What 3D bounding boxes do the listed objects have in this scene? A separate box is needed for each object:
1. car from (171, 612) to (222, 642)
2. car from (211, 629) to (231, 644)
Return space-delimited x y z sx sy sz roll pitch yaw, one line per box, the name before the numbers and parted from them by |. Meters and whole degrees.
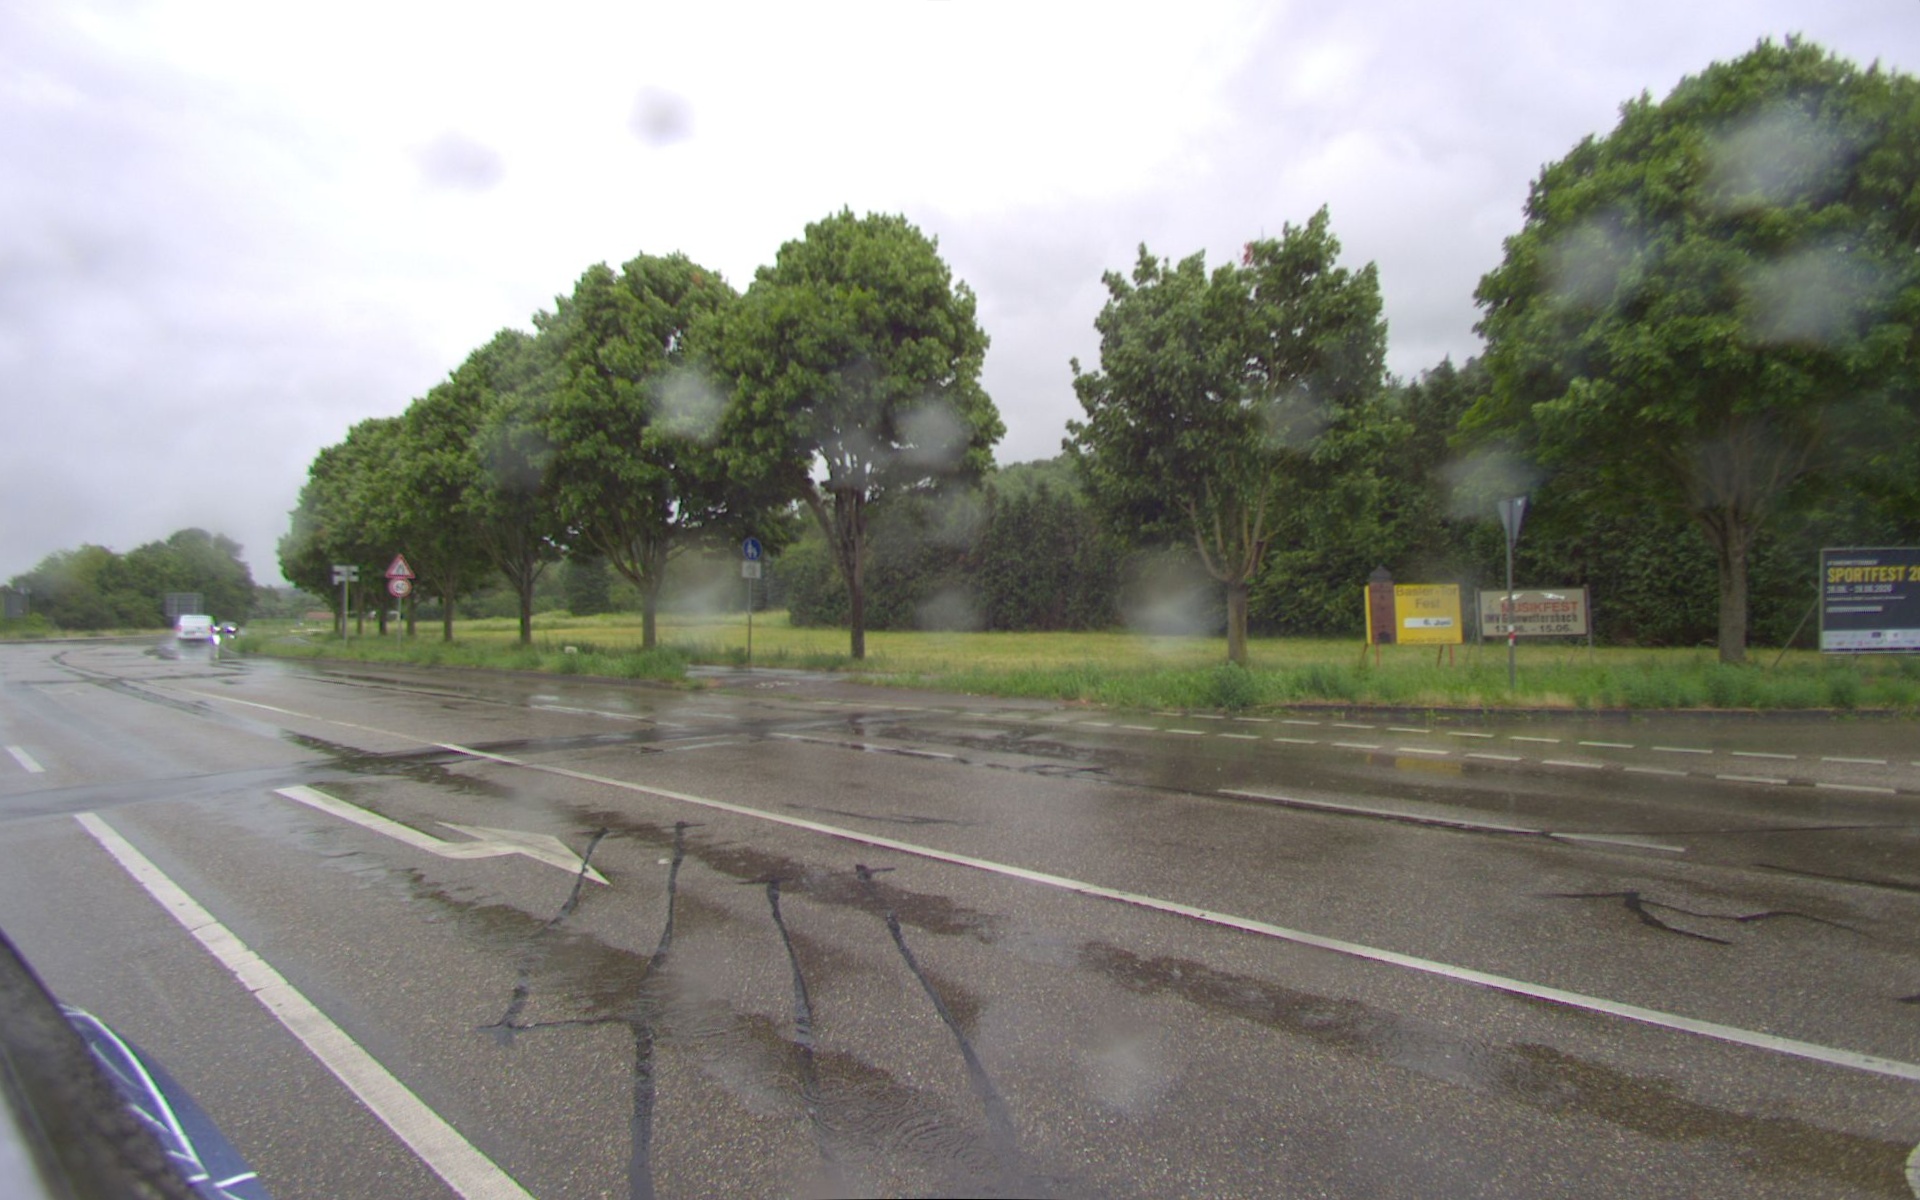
car | -51.344 1.796 68.137 2.077 1.907 4.806 0 -1 -29
car | -85.175 4.243 116.633 1.886 1.597 4.113 0 -1 -36
